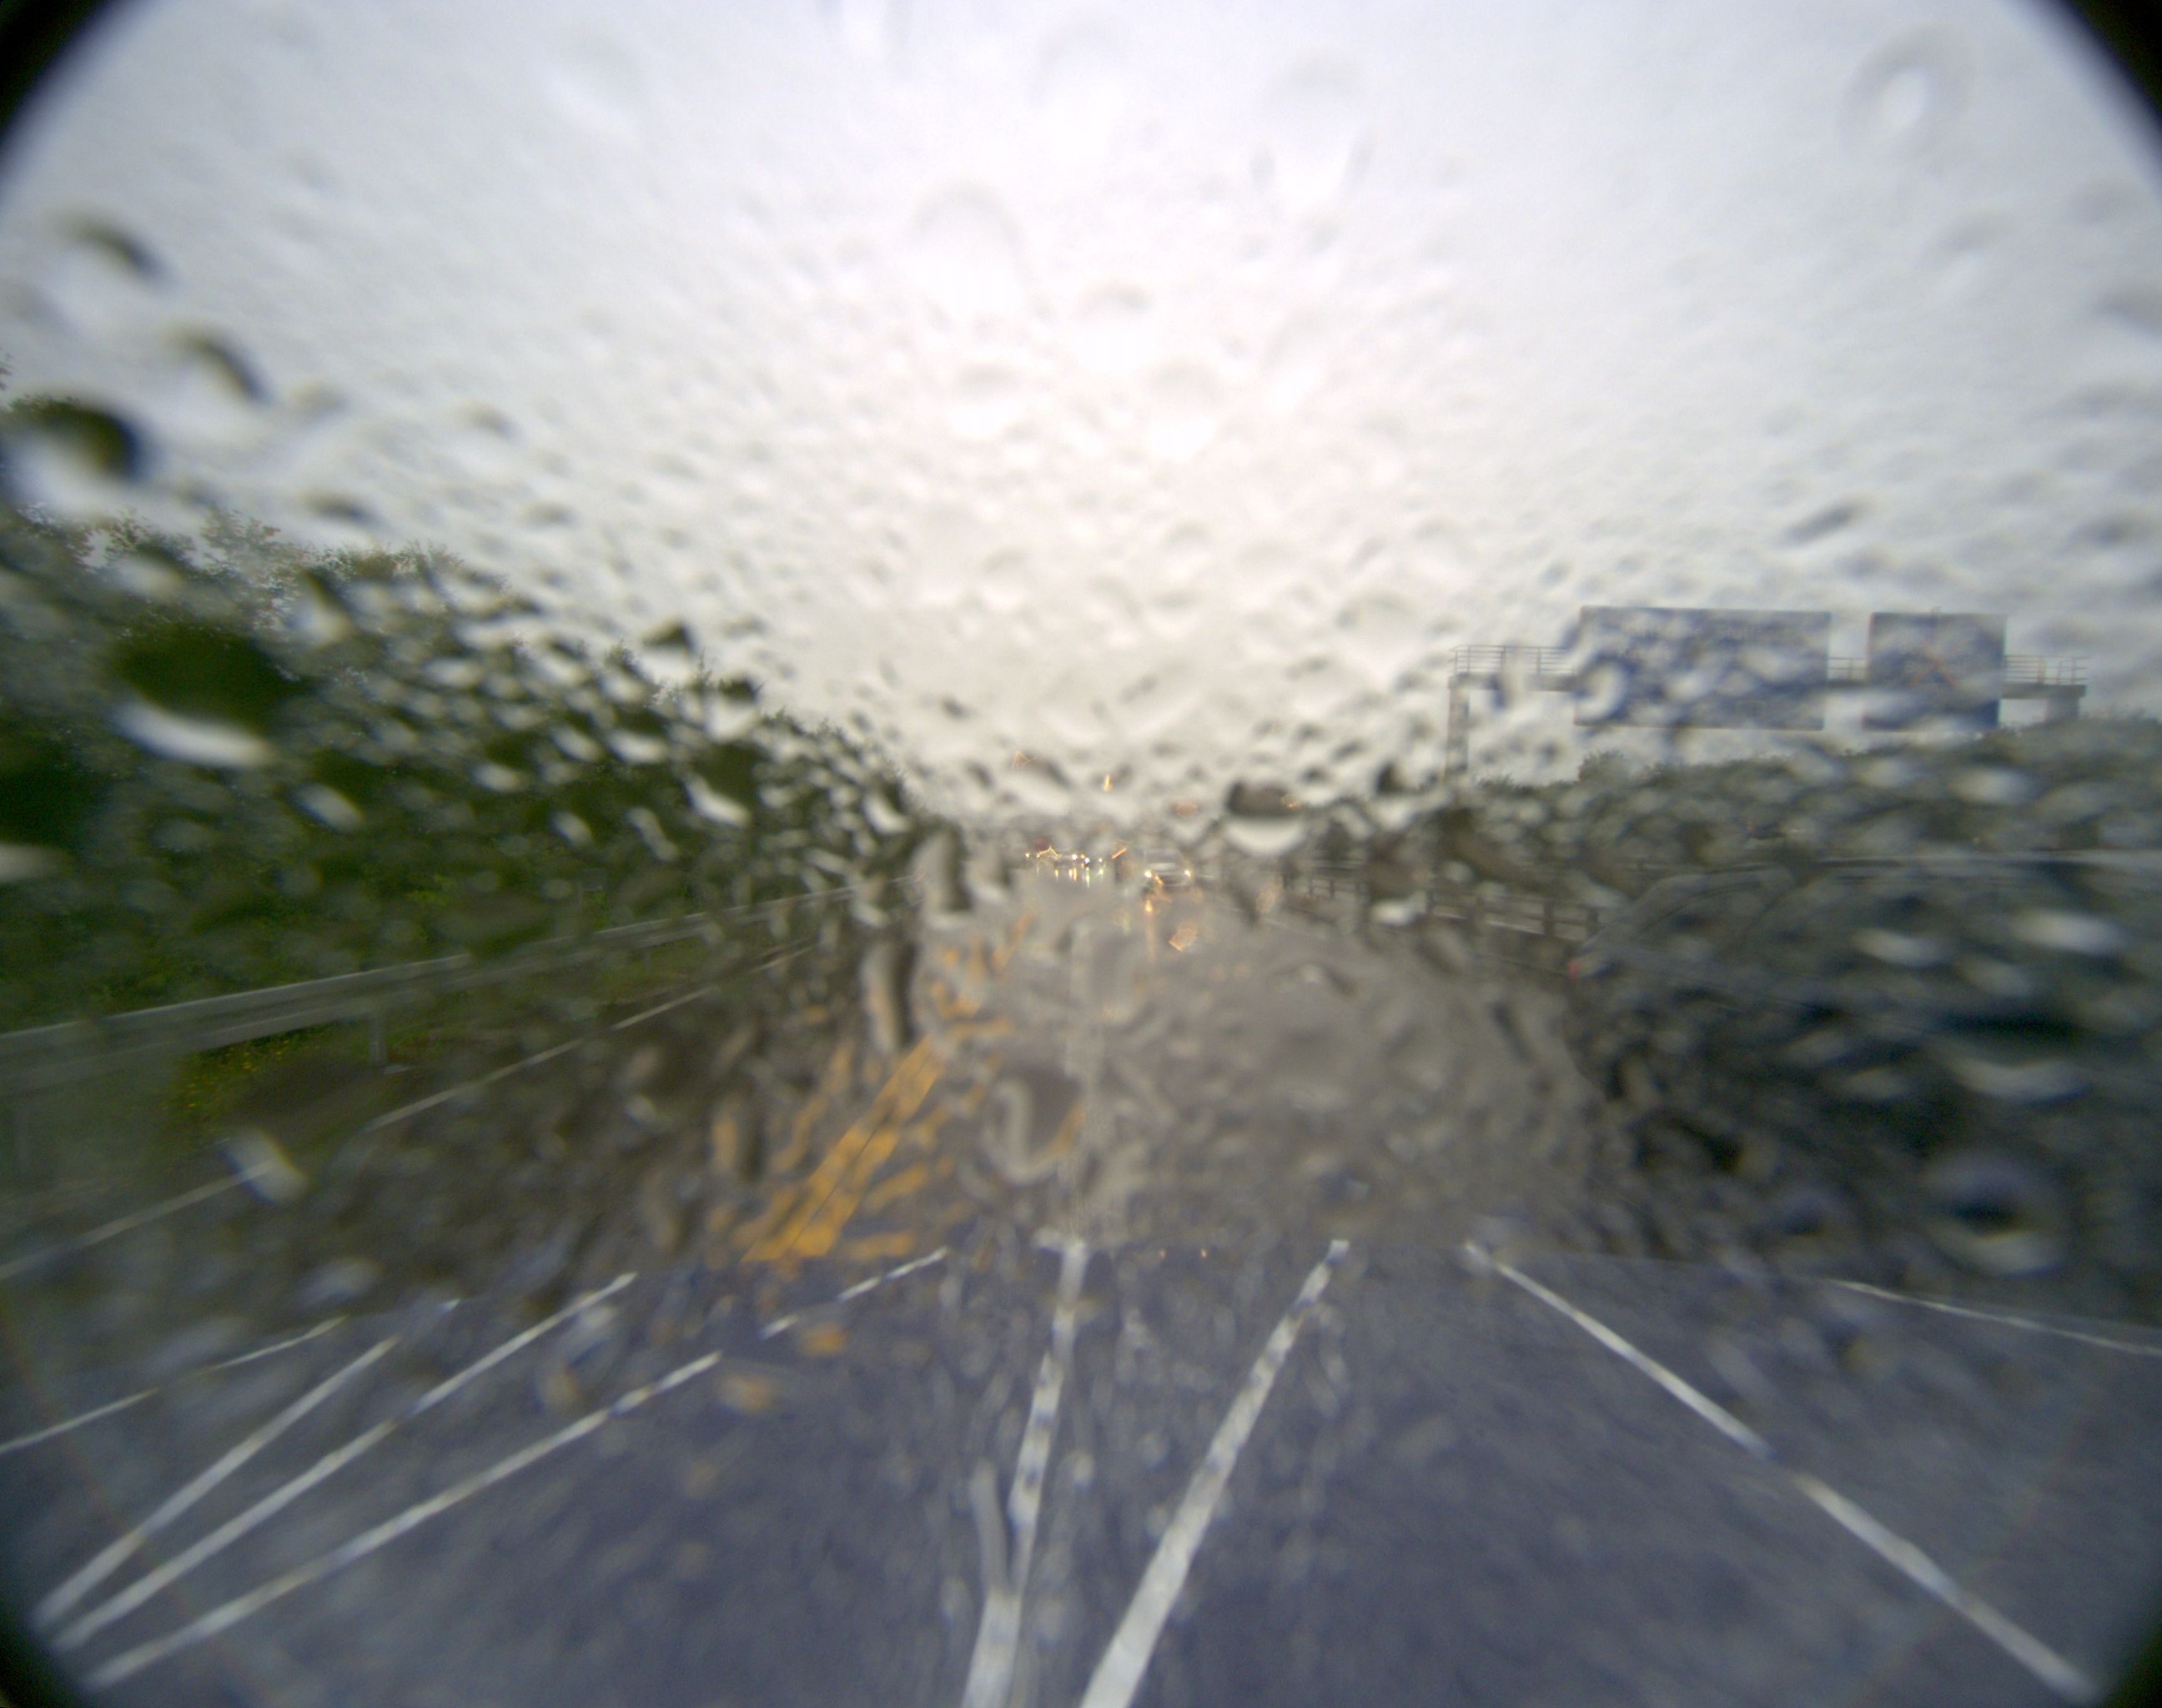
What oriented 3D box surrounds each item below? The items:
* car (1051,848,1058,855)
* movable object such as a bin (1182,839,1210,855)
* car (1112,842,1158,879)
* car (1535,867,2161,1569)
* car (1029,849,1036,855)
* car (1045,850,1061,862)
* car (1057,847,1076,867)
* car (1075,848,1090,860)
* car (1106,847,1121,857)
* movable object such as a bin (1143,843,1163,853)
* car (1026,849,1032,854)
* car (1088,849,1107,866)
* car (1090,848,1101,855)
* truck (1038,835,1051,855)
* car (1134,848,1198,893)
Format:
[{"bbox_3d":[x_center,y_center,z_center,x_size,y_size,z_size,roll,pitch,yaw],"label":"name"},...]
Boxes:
[{"bbox_3d":[-6.563,-0.624,187.529,1.752,1.579,3.998,-2,1,-3],"label":"car"},{"bbox_3d":[21.060,-1.264,139.740,3.775,2.782,6.327,-2,1,-2],"label":"movable object such as a bin"},{"bbox_3d":[3.145,0.346,45.411,2.211,2.002,5.562,-2,1,0],"label":"car"},{"bbox_3d":[3.464,0.872,1.770,1.999,1.489,4.630,-2,1,-1],"label":"car"},{"bbox_3d":[-13.235,-0.484,207.671,1.752,1.579,3.998,-2,1,-3],"label":"car"},{"bbox_3d":[-3.983,0.266,105.872,1.882,1.656,3.997,-1,1,-7],"label":"car"},{"bbox_3d":[-1.578,0.322,81.923,1.882,2.002,3.998,-2,1,-3],"label":"car"},{"bbox_3d":[0.200,-0.028,112.709,1.845,1.586,3.998,-2,1,-3],"label":"car"},{"bbox_3d":[5.085,-0.302,120.824,1.876,1.579,4.217,-2,1,-4],"label":"car"},{"bbox_3d":[17.082,-1.483,180.947,3.449,2.281,5.096,-2,1,-9],"label":"movable object such as a bin"},{"bbox_3d":[-16.258,-0.851,235.834,1.752,1.579,3.998,-2,1,-3],"label":"car"},{"bbox_3d":[1.780,0.322,81.689,1.695,1.740,3.998,-2,1,-3],"label":"car"},{"bbox_3d":[3.103,-0.569,162.151,1.853,1.494,4.127,-2,1,-6],"label":"car"},{"bbox_3d":[-7.746,-1.871,161.198,2.484,4.061,8.700,-2,1,-3],"label":"truck"},{"bbox_3d":[3.183,0.627,29.389,1.978,1.586,4.309,-1,-1,0],"label":"car"}]
